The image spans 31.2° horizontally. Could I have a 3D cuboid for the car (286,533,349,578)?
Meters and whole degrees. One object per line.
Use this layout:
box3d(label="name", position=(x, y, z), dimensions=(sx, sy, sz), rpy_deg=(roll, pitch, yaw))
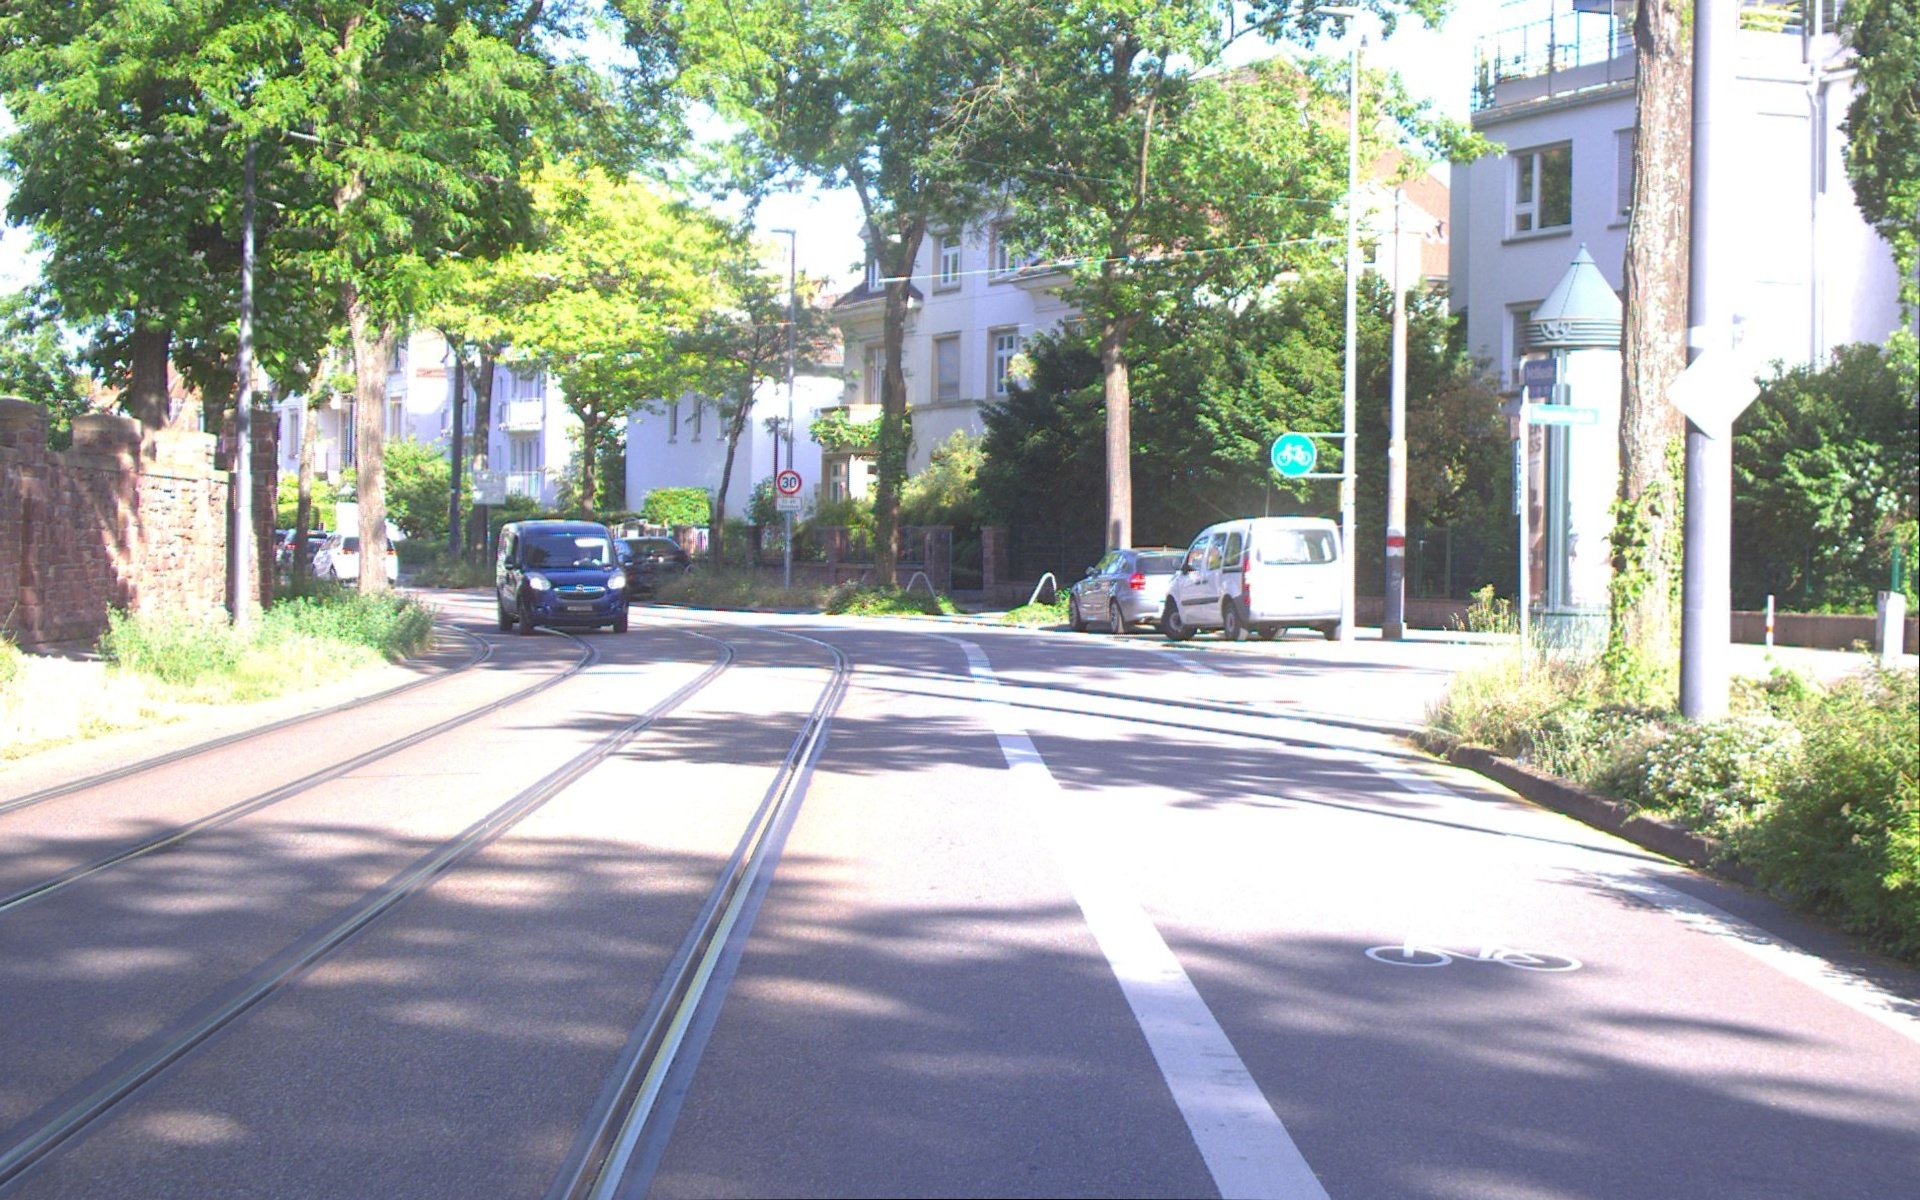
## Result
box3d(label="car", position=(-21.468, -1.493, 114.850), dimensions=(1.993, 1.437, 4.001), rpy_deg=(1, 1, -11))

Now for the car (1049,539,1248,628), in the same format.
box3d(label="car", position=(3.111, -0.286, 57.805), dimensions=(1.993, 1.418, 4.334), rpy_deg=(0, 0, -17))

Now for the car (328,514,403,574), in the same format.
box3d(label="car", position=(-17.266, -1.602, 99.712), dimensions=(1.892, 1.605, 4.230), rpy_deg=(1, -1, -13))

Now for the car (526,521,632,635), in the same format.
box3d(label="car", position=(-6.259, -0.394, 56.807), dimensions=(1.632, 1.786, 4.339), rpy_deg=(1, 1, -5))

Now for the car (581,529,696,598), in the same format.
box3d(label="car", position=(-8.428, -0.978, 89.741), dimensions=(1.804, 1.688, 4.730), rpy_deg=(-3, 2, -20))

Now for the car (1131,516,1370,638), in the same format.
box3d(label="car", position=(4.313, -0.380, 51.915), dimensions=(2.022, 1.741, 4.753), rpy_deg=(0, 1, -16))
